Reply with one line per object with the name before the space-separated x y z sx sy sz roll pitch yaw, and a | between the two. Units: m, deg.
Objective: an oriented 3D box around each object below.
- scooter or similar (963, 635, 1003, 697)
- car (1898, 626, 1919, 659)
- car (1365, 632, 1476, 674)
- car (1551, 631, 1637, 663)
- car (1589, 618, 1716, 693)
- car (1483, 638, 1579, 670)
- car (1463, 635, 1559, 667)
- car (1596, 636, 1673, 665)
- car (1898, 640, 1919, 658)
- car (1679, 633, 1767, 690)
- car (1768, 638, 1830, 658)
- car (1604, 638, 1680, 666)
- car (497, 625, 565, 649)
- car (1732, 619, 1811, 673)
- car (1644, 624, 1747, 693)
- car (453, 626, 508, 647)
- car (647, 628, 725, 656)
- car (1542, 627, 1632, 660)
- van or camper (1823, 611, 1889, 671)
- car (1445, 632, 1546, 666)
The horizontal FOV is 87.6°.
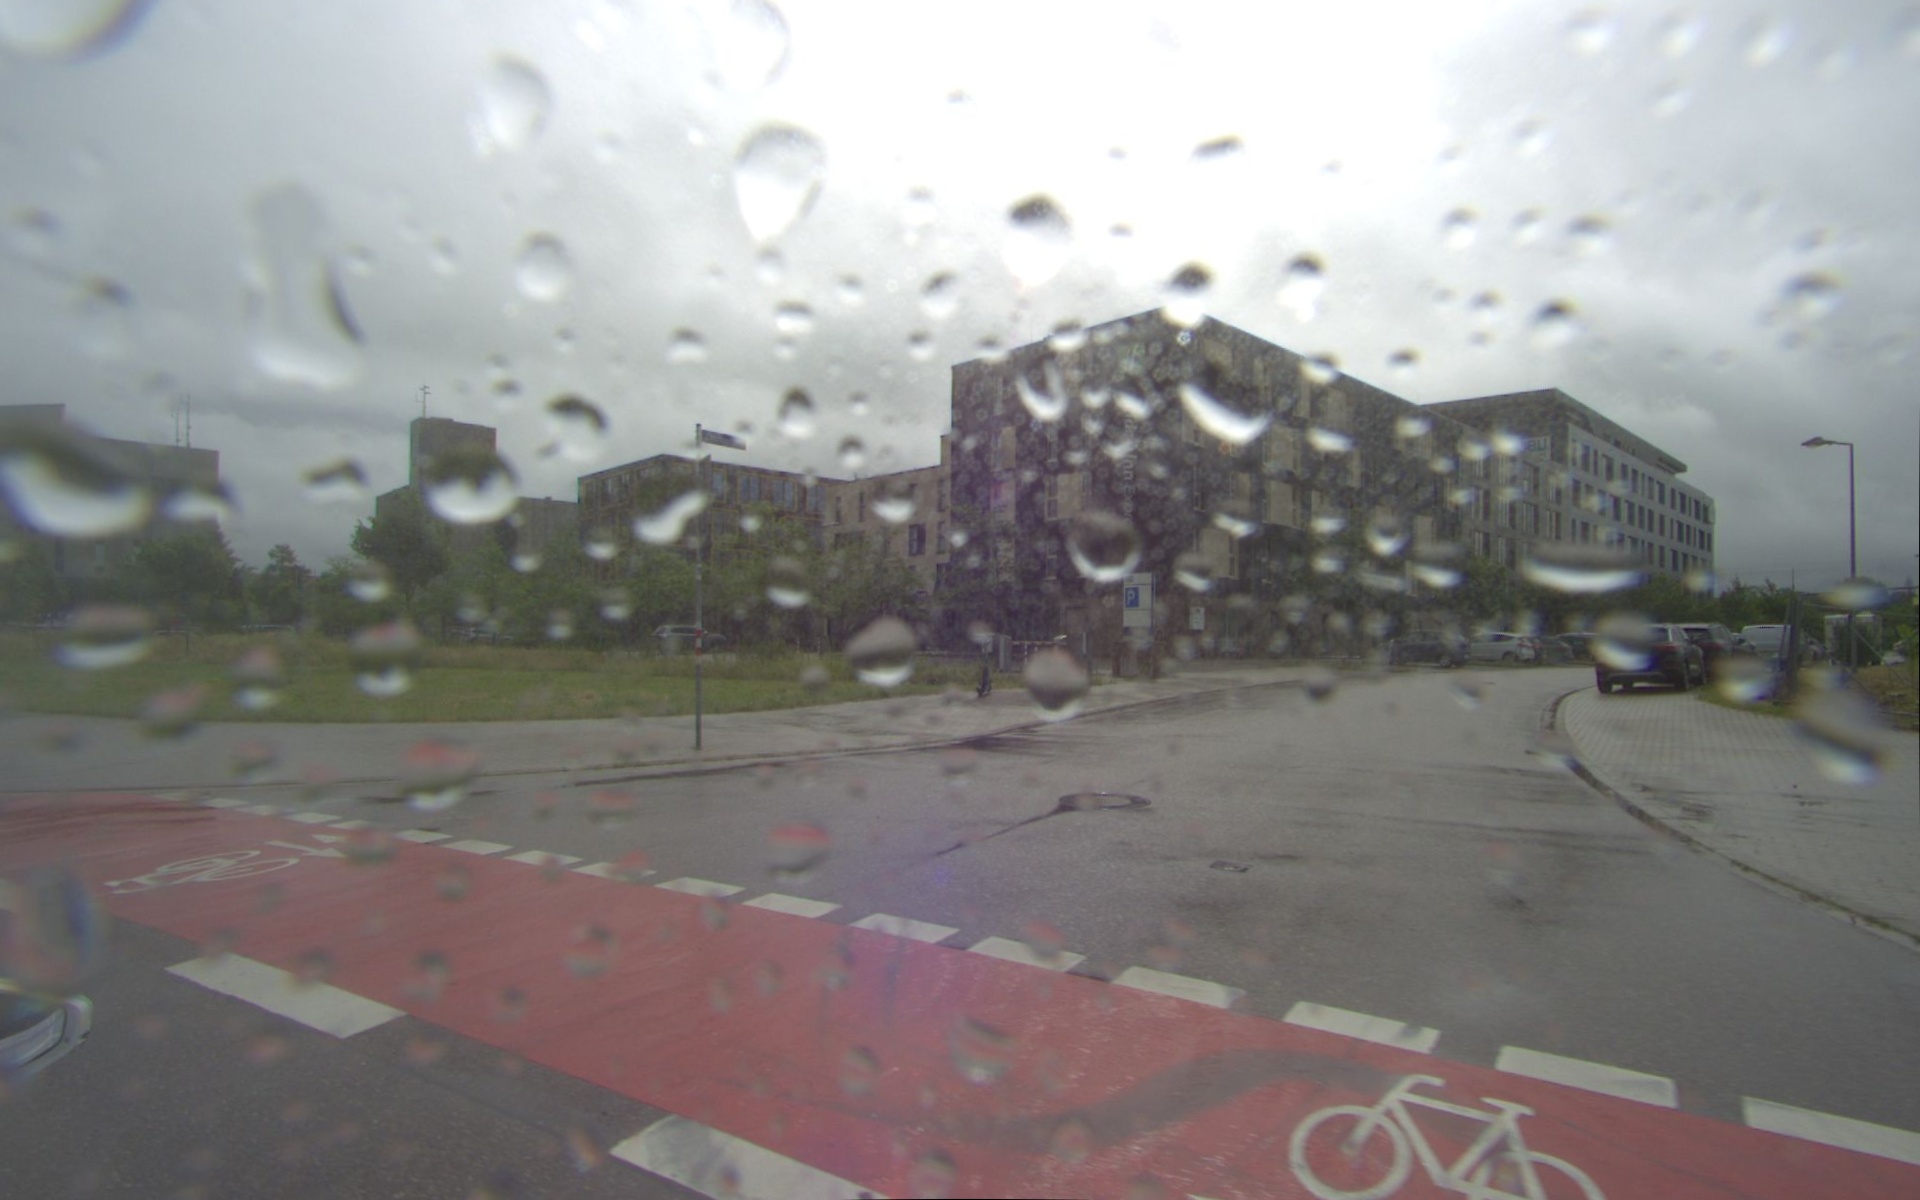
scooter or similar | 0.492 1.372 21.063 0.494 1.203 1.282 2 0 16
car | 65.880 2.939 68.506 4.764 2.037 1.983 6 -5 -40
car | 19.019 2.176 41.425 1.771 1.546 3.804 6 -5 -44
car | 35.593 2.604 56.296 1.771 1.634 3.804 6 -5 -44
car | 16.781 1.346 24.212 1.979 1.637 3.967 -4 -5 42
car | 28.241 2.663 49.592 1.771 1.412 3.804 7 -5 -44
car | 26.244 2.452 47.767 1.629 1.413 3.746 5 -5 -43
car | 42.153 3.141 62.603 1.536 1.634 3.804 6 -5 -44
car | 97.004 4.918 100.539 3.952 1.750 1.986 -1 -2 40
car | 25.264 2.053 33.104 1.978 1.660 3.971 0 -5 42
car | 80.354 4.596 95.914 1.782 1.707 4.331 6 -5 -41
car | 43.825 3.360 64.408 1.536 1.634 3.804 6 -5 -44
car | -33.264 2.895 77.730 4.509 1.784 1.983 2 -2 -41
car | 33.259 1.894 40.997 4.301 1.792 1.981 9 -7 -43
car | 21.057 1.696 28.612 1.978 1.748 3.971 0 -5 42
car | -40.736 3.106 85.118 3.957 1.742 1.754 2 -2 -40
car | -16.359 2.492 59.877 4.173 1.577 1.653 1 -1 -41
car | 33.558 2.305 53.655 1.771 1.634 3.804 6 -5 -44
van or camper | 55.106 2.591 61.535 6.741 3.239 2.505 7 -5 -44
car | 24.652 2.244 46.184 1.753 1.412 3.770 7 -5 -44
